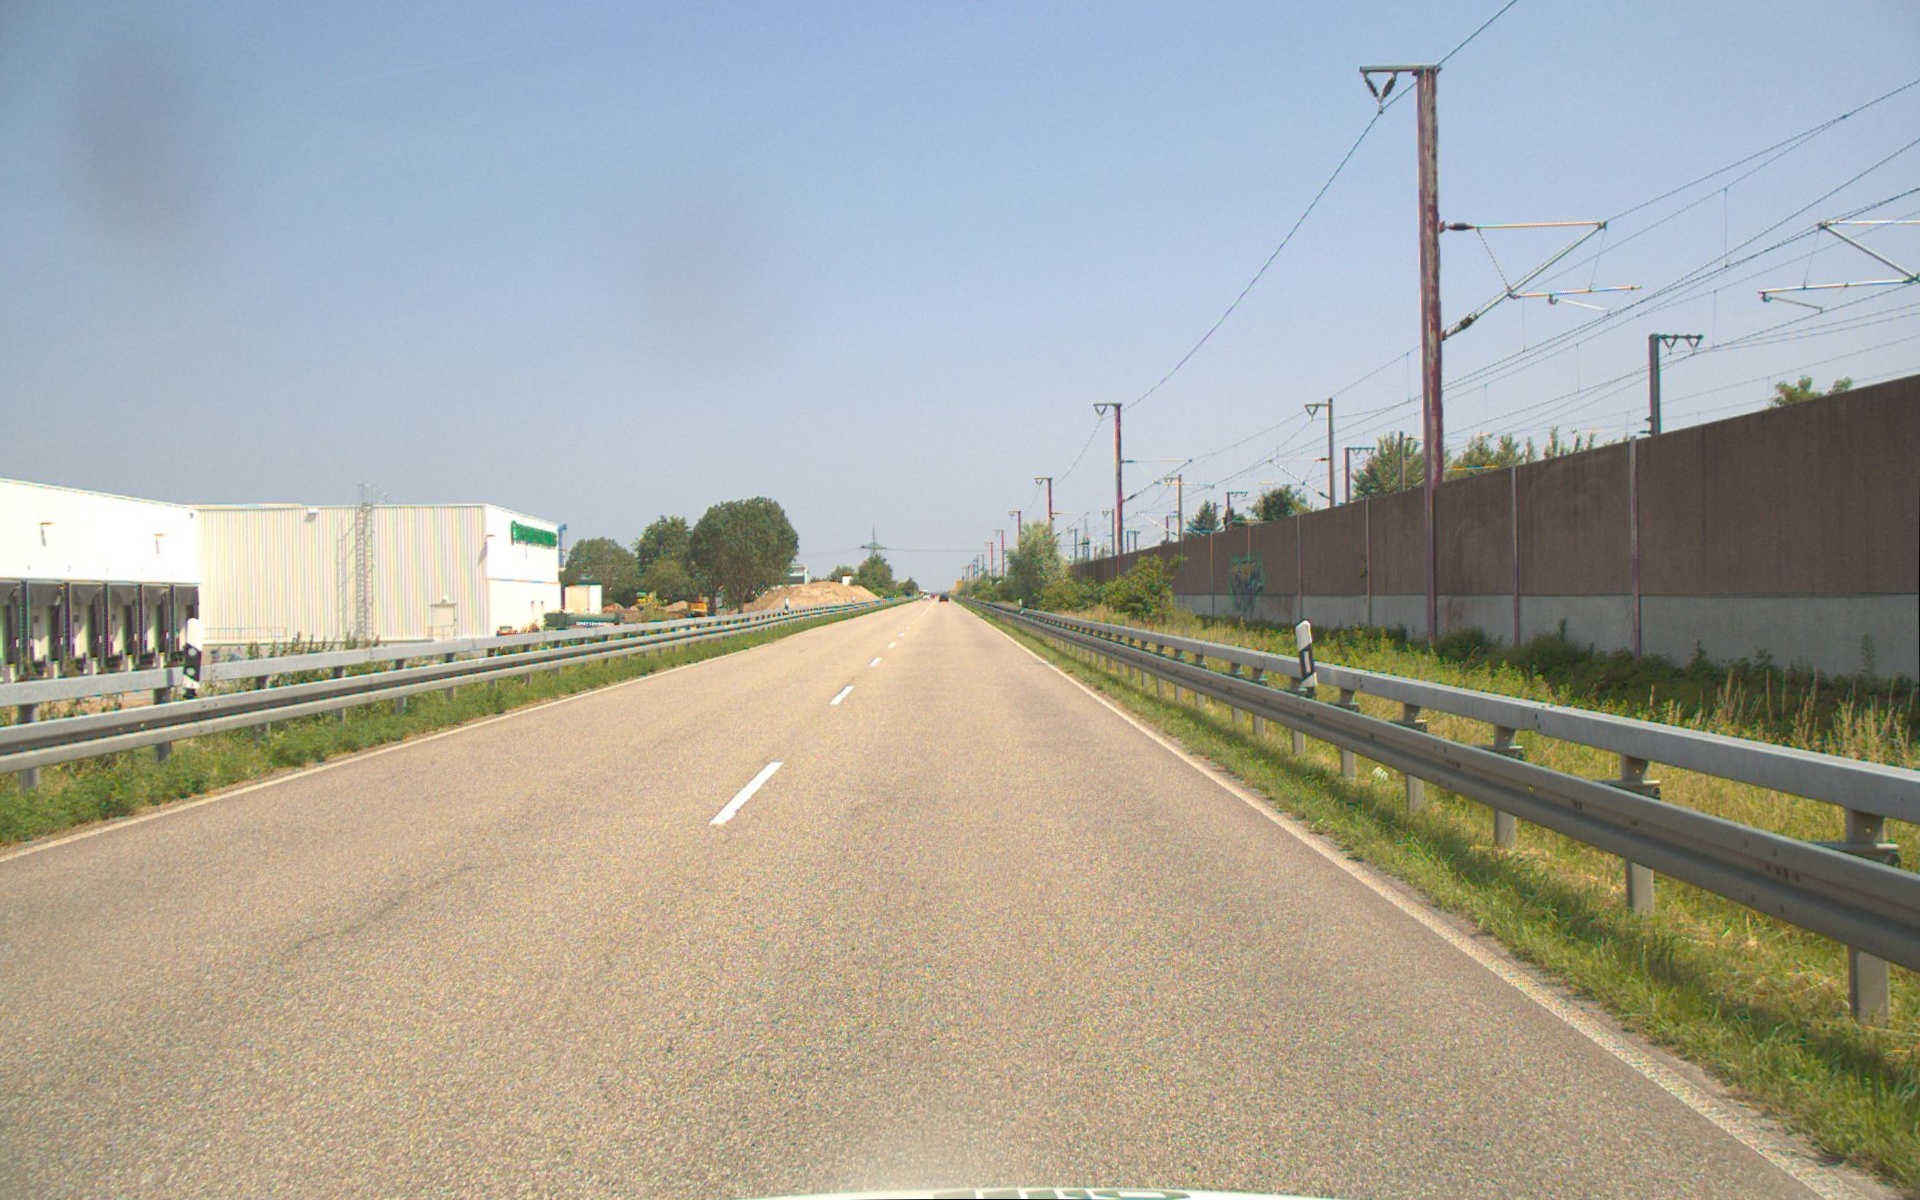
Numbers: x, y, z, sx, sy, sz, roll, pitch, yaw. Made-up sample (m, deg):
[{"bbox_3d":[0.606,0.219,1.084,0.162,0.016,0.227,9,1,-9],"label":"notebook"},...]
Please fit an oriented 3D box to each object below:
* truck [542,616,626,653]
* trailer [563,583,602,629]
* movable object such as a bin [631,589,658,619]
[{"bbox_3d":[-24.285,2.221,107.014,4.907,2.374,2.232,0,0,-1],"label":"truck"},{"bbox_3d":[-37.309,0.497,163.493,2.626,4.408,7.945,0,1,-5],"label":"trailer"},{"bbox_3d":[-41.152,0.594,215.722,2.582,3.716,5.430,-3,0,-19],"label":"movable object such as a bin"}]
